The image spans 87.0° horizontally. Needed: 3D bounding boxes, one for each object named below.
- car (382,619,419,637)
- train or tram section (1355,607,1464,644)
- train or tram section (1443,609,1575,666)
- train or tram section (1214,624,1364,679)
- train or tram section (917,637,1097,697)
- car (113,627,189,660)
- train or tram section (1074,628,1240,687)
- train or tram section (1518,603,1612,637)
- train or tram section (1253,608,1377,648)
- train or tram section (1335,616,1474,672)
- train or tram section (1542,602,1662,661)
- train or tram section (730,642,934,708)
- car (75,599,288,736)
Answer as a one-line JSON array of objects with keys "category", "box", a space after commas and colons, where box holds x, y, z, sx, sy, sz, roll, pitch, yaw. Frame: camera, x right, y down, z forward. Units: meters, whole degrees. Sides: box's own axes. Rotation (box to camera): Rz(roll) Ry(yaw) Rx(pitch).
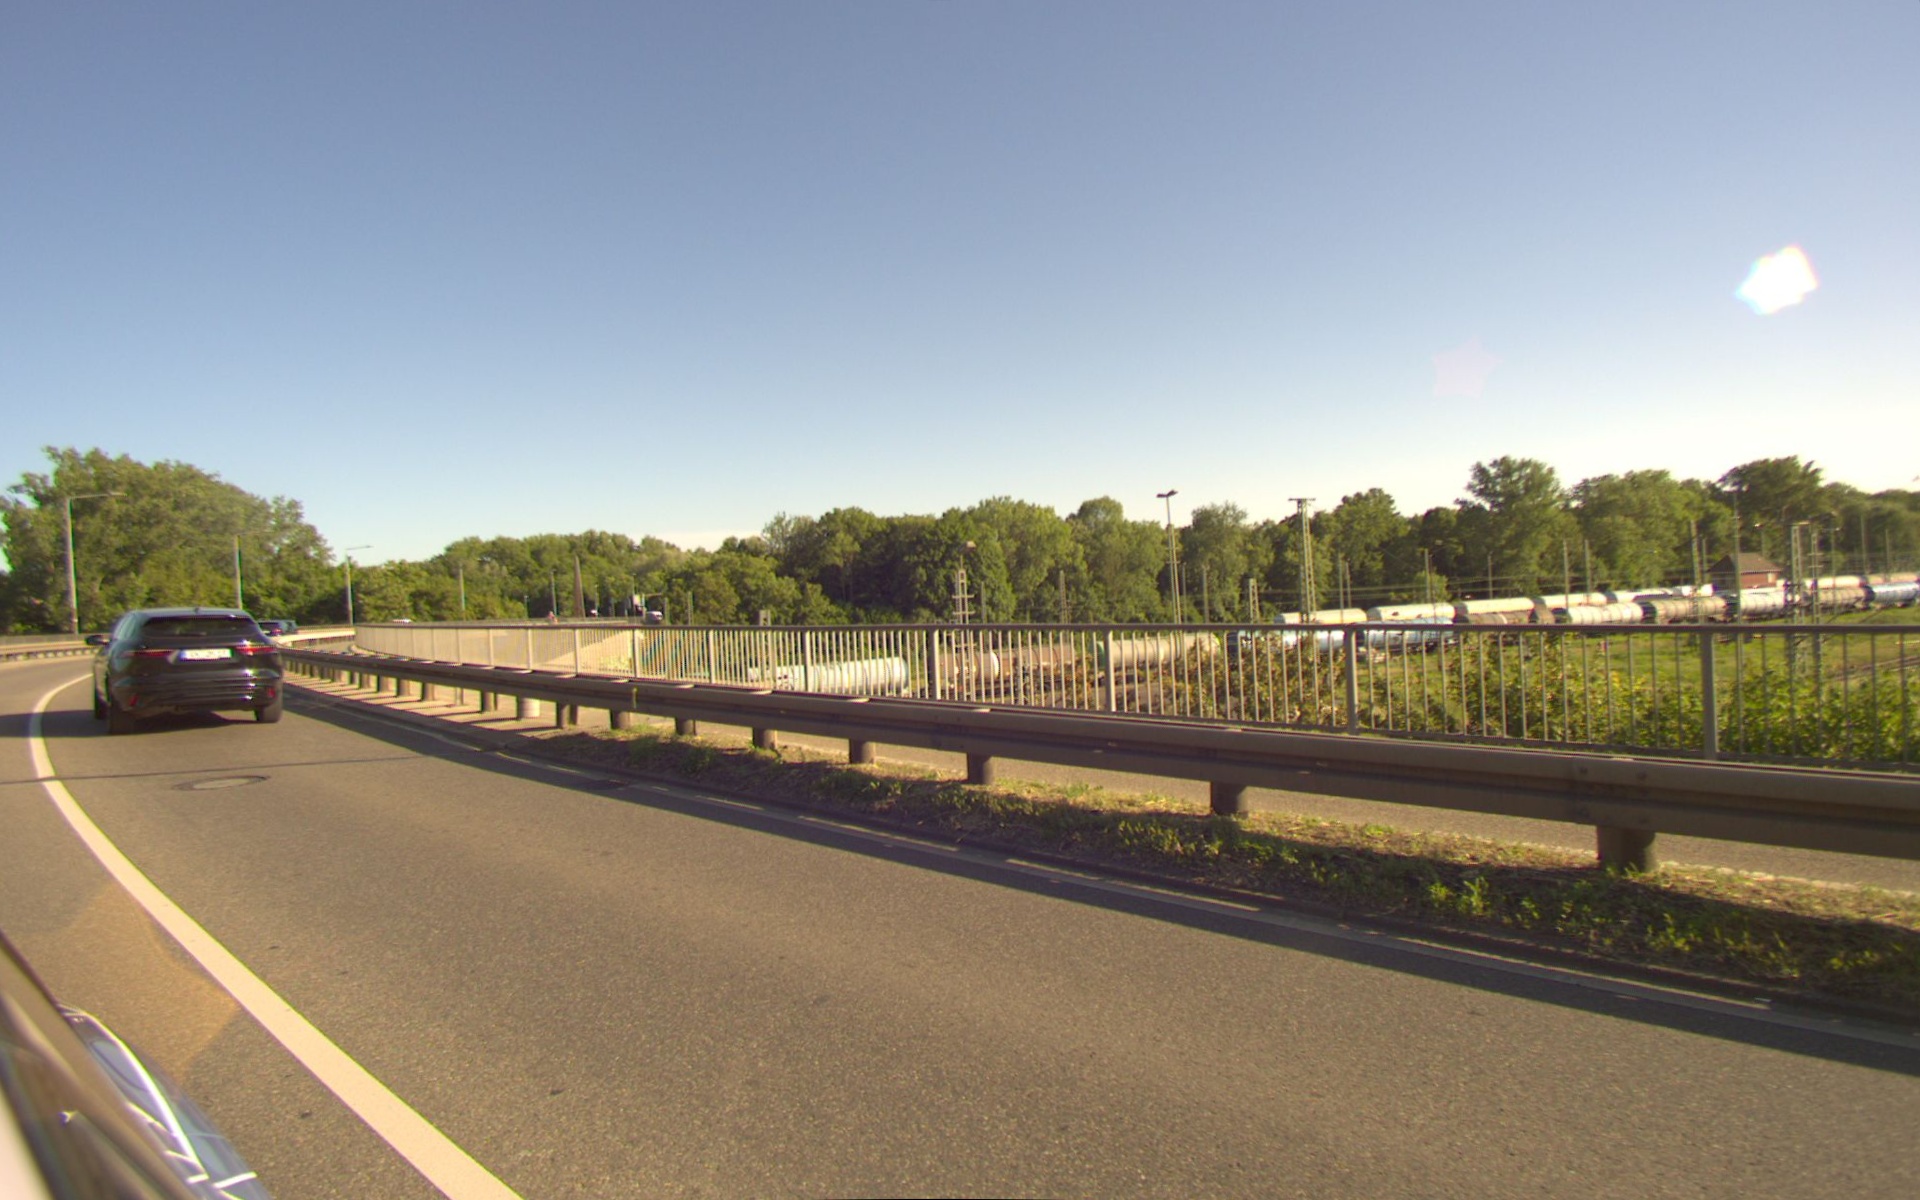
[{"category": "car", "box": [-49.400, 2.443, 89.426, 1.812, 1.530, 3.779, -1, -1, -12]}, {"category": "train or tram section", "box": [67.240, 3.704, 151.120, 17.873, 5.125, 4.062, -1, -1, -25]}, {"category": "train or tram section", "box": [63.886, 4.241, 117.600, 16.666, 6.055, 3.918, -1, -1, -24]}, {"category": "train or tram section", "box": [34.066, 5.156, 104.399, 16.083, 5.054, 3.918, -1, -1, -24]}, {"category": "train or tram section", "box": [4.378, 5.877, 91.287, 16.029, 4.626, 3.918, -1, -1, -24]}, {"category": "car", "box": [-39.666, 2.105, 49.739, 1.960, 1.484, 4.143, -1, -1, -24]}, {"category": "train or tram section", "box": [19.155, 5.420, 97.832, 16.378, 5.054, 3.918, -1, -1, -24]}, {"category": "train or tram section", "box": [99.296, 3.229, 165.949, 17.558, 5.125, 4.062, -1, -1, -25]}, {"category": "train or tram section", "box": [50.491, 3.932, 143.392, 19.018, 5.125, 4.062, -1, -1, -25]}, {"category": "train or tram section", "box": [48.839, 4.672, 110.945, 16.219, 5.561, 3.918, -1, -1, -24]}, {"category": "train or tram section", "box": [78.902, 3.754, 124.266, 16.219, 6.661, 3.918, -1, -1, -24]}, {"category": "train or tram section", "box": [-10.559, 6.136, 84.678, 16.478, 4.626, 3.918, -1, -1, -24]}, {"category": "car", "box": [-11.277, 0.865, 14.527, 1.876, 1.655, 4.466, 0, -1, -45]}]
